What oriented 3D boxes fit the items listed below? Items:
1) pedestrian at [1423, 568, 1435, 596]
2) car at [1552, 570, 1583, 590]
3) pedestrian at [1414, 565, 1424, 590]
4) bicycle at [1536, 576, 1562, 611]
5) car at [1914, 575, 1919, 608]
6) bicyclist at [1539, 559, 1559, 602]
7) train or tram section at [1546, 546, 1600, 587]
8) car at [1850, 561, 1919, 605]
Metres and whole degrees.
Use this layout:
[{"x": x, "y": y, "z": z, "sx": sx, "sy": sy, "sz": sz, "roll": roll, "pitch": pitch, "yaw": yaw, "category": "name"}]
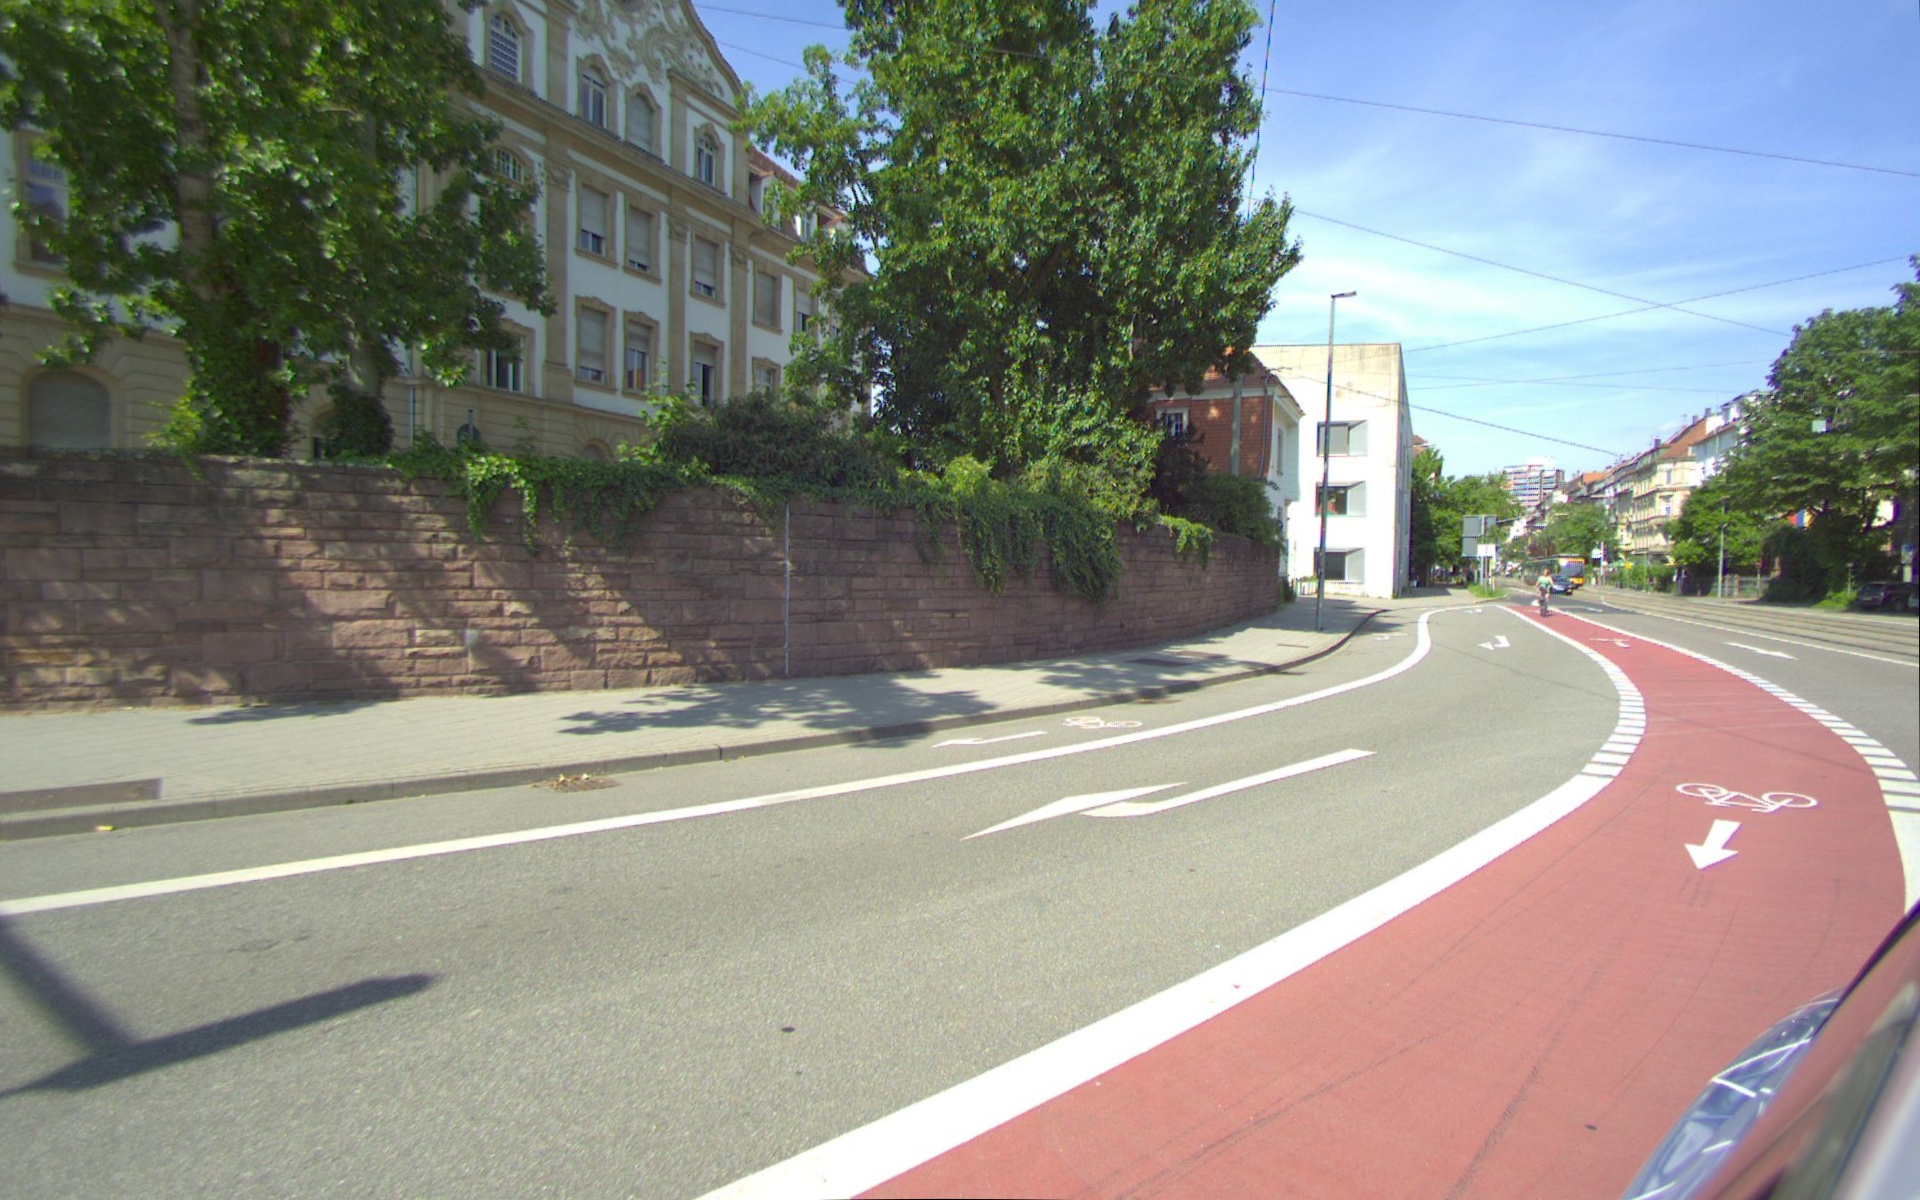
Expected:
[{"x": 29.308, "y": -1.142, "z": 63.227, "sx": 0.644, "sy": 1.728, "sz": 0.705, "roll": 2, "pitch": 2, "yaw": 25, "category": "pedestrian"}, {"x": 44.253, "y": -1.485, "z": 73.782, "sx": 1.788, "sy": 1.393, "sz": 4.233, "roll": 3, "pitch": 3, "yaw": 30, "category": "car"}, {"x": 28.726, "y": -1.412, "z": 63.371, "sx": 0.544, "sy": 1.587, "sz": 0.924, "roll": 2, "pitch": 2, "yaw": 25, "category": "pedestrian"}, {"x": 21.712, "y": -0.261, "z": 37.320, "sx": 0.680, "sy": 1.237, "sz": 2.166, "roll": 2, "pitch": 2, "yaw": 27, "category": "bicycle"}, {"x": 44.418, "y": -0.294, "z": 43.837, "sx": 3.959, "sy": 1.482, "sz": 1.983, "roll": 3, "pitch": 2, "yaw": 25, "category": "car"}, {"x": 21.686, "y": -0.706, "z": 37.274, "sx": 0.583, "sy": 1.567, "sz": 0.922, "roll": -1, "pitch": 1, "yaw": 29, "category": "bicyclist"}, {"x": 63.043, "y": -3.438, "z": 104.361, "sx": 3.183, "sy": 3.907, "sz": 14.462, "roll": 2, "pitch": 2, "yaw": 25, "category": "train or tram section"}, {"x": 46.295, "y": -0.803, "z": 49.252, "sx": 3.959, "sy": 2.038, "sz": 1.983, "roll": 3, "pitch": 2, "yaw": 25, "category": "car"}]
